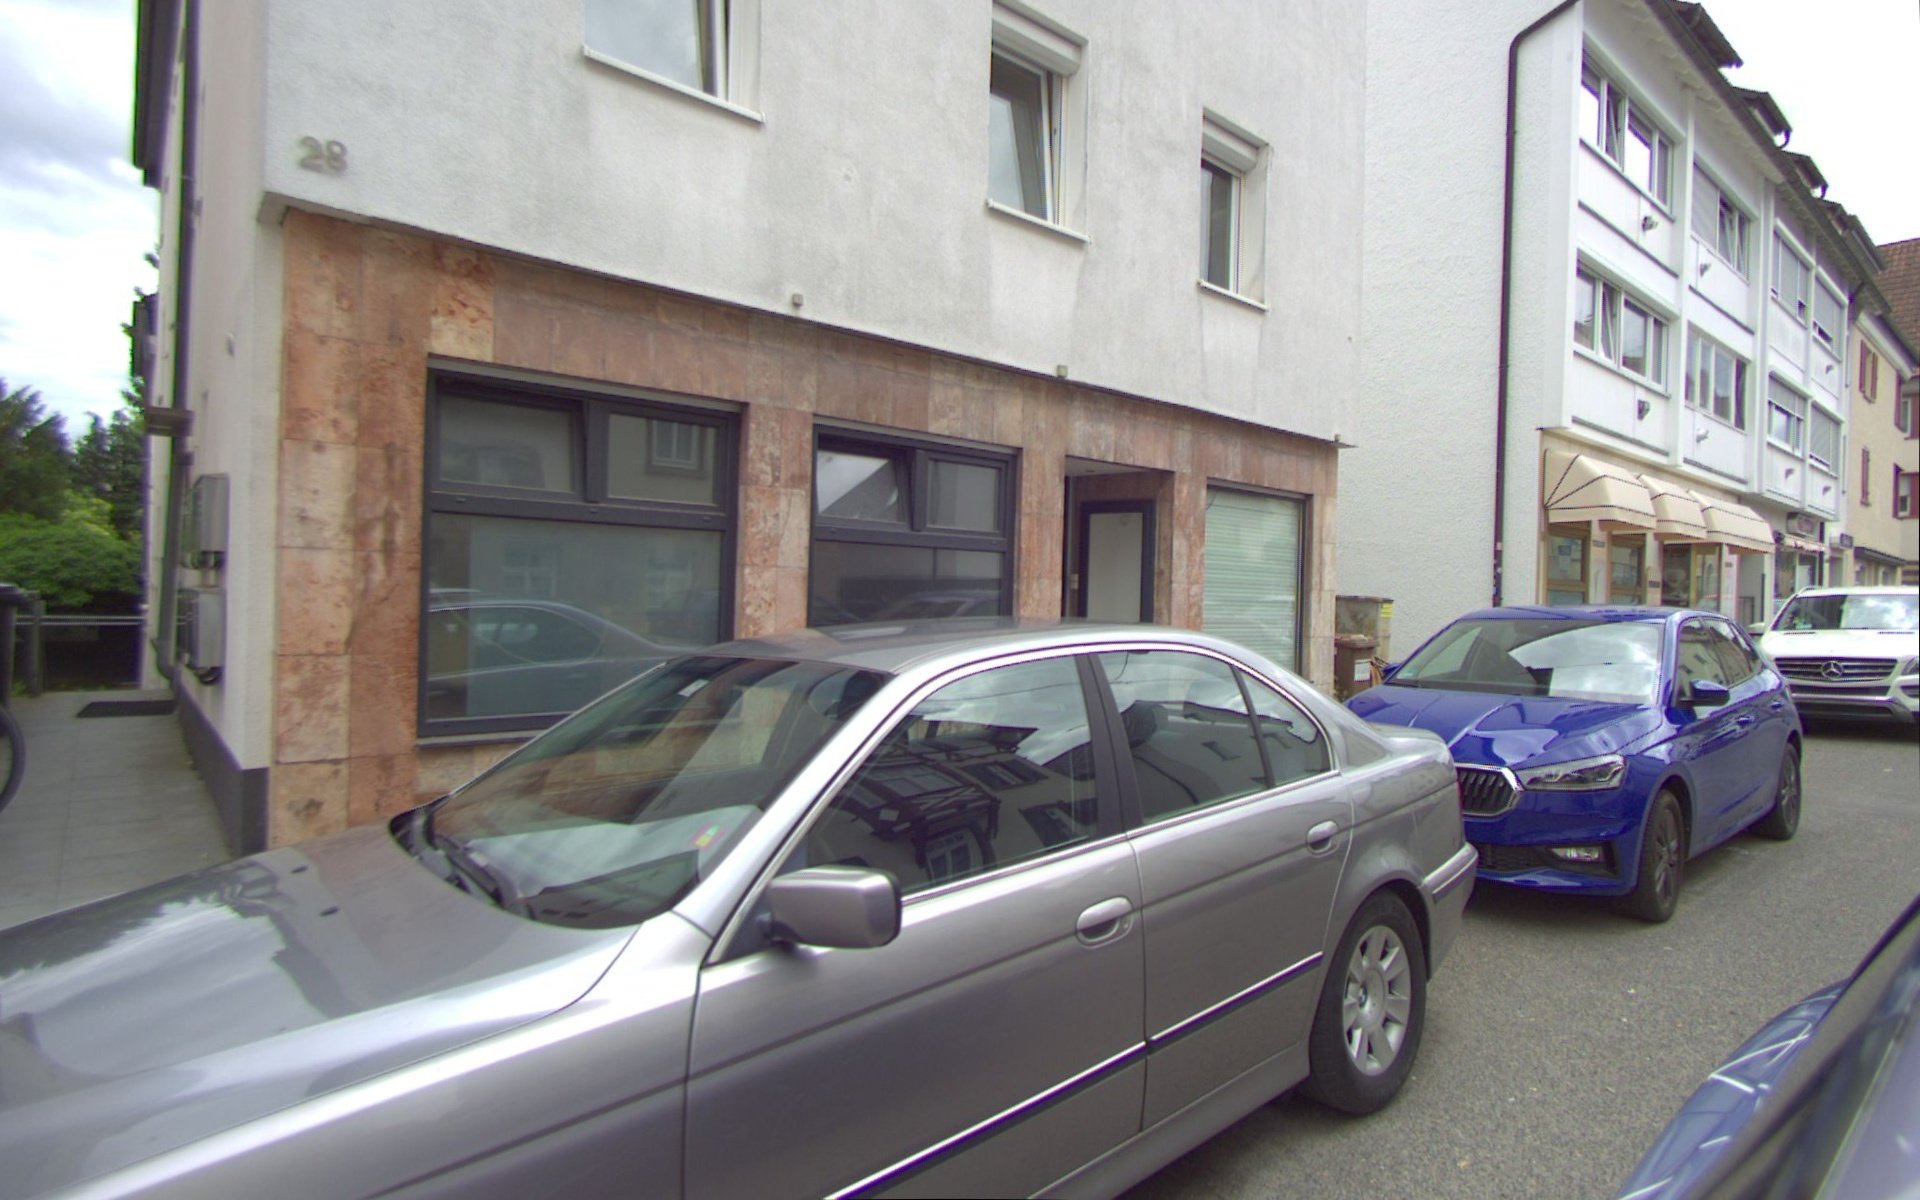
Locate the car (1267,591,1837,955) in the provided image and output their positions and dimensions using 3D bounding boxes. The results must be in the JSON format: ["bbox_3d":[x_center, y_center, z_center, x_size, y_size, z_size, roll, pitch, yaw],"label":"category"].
[{"bbox_3d":[3.696,0.693,6.041,3.859,1.450,1.755,-1,0,-40],"label":"car"}]

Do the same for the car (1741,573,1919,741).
[{"bbox_3d":[11.197,0.558,12.246,4.415,1.727,1.899,-1,1,-40],"label":"car"}]

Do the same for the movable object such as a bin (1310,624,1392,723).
[{"bbox_3d":[4.040,0.745,10.472,0.512,0.941,0.570,1,3,-40],"label":"movable object such as a bin"}]

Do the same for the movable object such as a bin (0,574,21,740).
[{"bbox_3d":[-6.713,0.374,6.812,0.537,1.092,0.504,1,1,-41],"label":"movable object such as a bin"}]

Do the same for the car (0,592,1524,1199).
[{"bbox_3d":[-0.360,0.746,2.657,4.499,1.435,1.789,-1,-1,-41],"label":"car"}]

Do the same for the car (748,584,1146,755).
[{"bbox_3d":[-0.034,0.576,10.525,3.938,1.450,1.647,-1,0,-37],"label":"car"}]

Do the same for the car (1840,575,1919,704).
[{"bbox_3d":[15.102,0.527,15.453,4.268,1.812,1.899,-1,1,-40],"label":"car"}]
